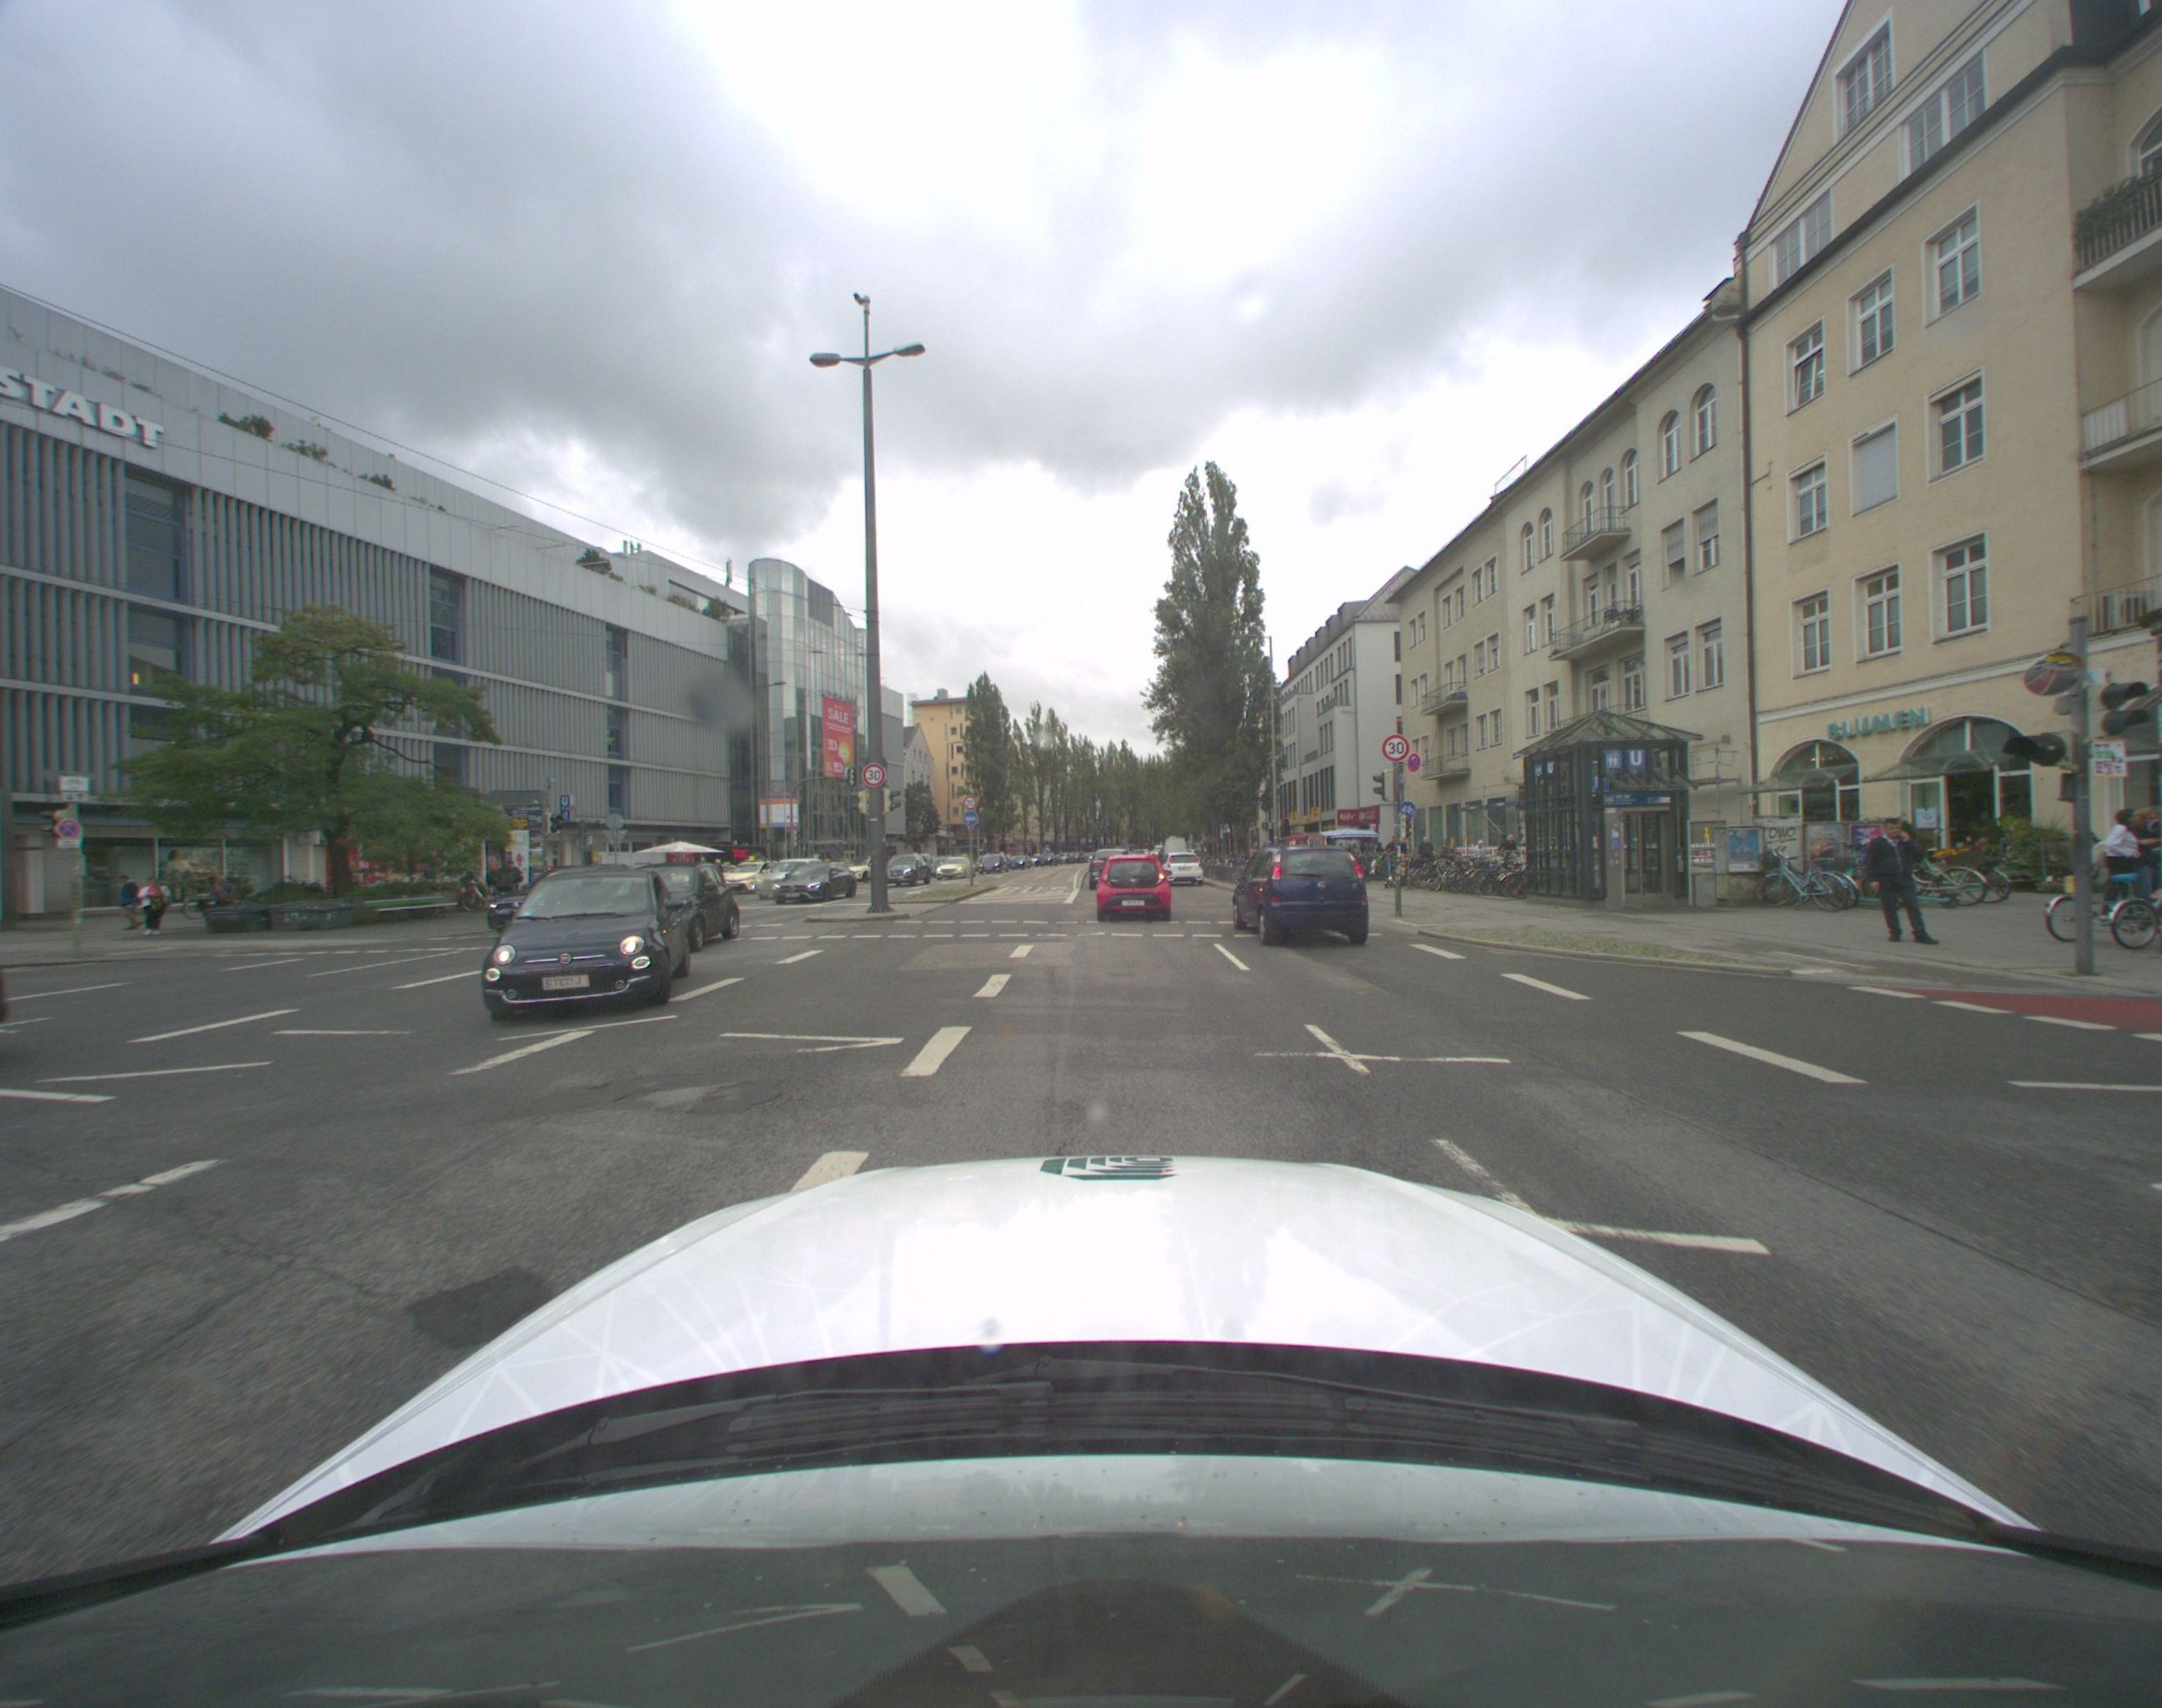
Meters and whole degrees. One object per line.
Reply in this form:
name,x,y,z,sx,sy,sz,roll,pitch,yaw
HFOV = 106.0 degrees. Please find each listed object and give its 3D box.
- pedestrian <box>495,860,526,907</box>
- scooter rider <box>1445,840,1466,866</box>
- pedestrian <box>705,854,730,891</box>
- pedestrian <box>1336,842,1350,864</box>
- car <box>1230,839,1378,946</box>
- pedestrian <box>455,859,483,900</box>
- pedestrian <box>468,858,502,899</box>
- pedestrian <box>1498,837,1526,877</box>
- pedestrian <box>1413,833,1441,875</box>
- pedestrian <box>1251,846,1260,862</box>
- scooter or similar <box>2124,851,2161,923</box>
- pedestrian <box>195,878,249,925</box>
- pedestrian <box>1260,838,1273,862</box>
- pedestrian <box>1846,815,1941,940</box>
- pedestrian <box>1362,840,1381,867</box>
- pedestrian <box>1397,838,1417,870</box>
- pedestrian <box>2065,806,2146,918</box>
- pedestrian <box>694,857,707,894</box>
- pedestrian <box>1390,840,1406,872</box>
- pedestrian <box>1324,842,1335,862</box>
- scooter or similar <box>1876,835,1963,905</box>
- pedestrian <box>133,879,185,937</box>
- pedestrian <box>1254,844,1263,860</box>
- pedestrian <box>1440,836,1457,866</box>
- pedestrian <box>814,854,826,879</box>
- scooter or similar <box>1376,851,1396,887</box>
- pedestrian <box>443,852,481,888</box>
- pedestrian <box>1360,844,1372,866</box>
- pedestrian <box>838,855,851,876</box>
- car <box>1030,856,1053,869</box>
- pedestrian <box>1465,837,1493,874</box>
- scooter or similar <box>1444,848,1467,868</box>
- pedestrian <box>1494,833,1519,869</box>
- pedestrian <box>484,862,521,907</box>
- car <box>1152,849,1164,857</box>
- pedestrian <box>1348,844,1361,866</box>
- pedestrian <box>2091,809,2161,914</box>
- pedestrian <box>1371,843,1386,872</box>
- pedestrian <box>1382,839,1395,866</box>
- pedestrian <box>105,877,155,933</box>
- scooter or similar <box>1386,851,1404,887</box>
pedestrian,-22.066,1.119,31.515,0.752,1.773,0.767,-2,0,-22
scooter rider,18.248,-0.048,39.686,0.683,1.219,0.719,-3,0,0
pedestrian,-17.412,0.878,39.038,0.766,1.690,0.753,-2,0,6
pedestrian,18.944,-0.067,58.908,0.730,1.602,0.742,-2,0,1
car,3.733,0.584,14.255,1.696,1.589,3.558,-1,0,2
pedestrian,-23.078,0.946,30.720,0.754,1.493,0.765,-2,0,-33
pedestrian,-23.124,0.951,31.605,0.764,1.554,0.755,-2,0,21
pedestrian,18.249,0.124,34.497,0.748,1.650,0.758,-3,0,0
pedestrian,14.763,-0.001,34.750,0.810,1.727,0.759,-3,0,2
pedestrian,17.598,-0.037,82.232,0.761,1.594,0.676,-1,0,1
scooter or similar,15.985,0.468,11.842,0.812,0.994,0.597,-1,3,24
pedestrian,-29.877,1.642,28.338,0.791,1.581,0.980,-2,0,12
pedestrian,13.789,-0.291,60.552,0.787,1.727,0.764,-2,0,1
pedestrian,11.465,0.314,11.523,0.826,1.691,0.825,-2,0,39
pedestrian,16.225,-0.031,45.469,0.801,1.522,0.805,-2,0,35
pedestrian,18.074,0.019,45.189,0.739,1.727,0.758,-3,0,1
pedestrian,15.810,0.113,12.588,0.560,1.670,0.565,-1,3,24
pedestrian,-18.281,1.050,39.097,0.441,1.759,0.358,-2,0,37
pedestrian,16.865,0.097,43.352,0.594,1.669,0.690,-2,0,37
pedestrian,17.789,-0.131,58.336,0.596,1.402,0.580,-2,0,1
scooter or similar,15.415,0.286,15.005,0.287,1.227,1.151,-2,0,-7
pedestrian,-25.876,1.504,22.861,0.633,1.574,0.723,-2,0,14
pedestrian,17.274,-0.167,79.234,0.710,1.558,0.676,-2,0,1
pedestrian,20.574,-0.175,45.578,0.638,1.644,0.563,-2,0,1
pedestrian,-19.556,0.918,61.003,0.553,1.817,0.630,-2,0,13
scooter or similar,10.542,0.500,28.141,0.360,1.176,1.355,-2,0,32
pedestrian,-22.776,0.571,29.977,0.542,1.275,1.045,-2,0,2
pedestrian,18.523,0.050,52.932,0.572,1.402,0.580,-2,0,1
pedestrian,-19.596,0.965,67.468,0.646,1.691,0.714,-2,0,14
car,-5.052,1.109,103.833,1.981,1.534,4.477,-2,0,9
pedestrian,17.022,0.051,34.815,0.775,1.517,0.758,-3,0,0
scooter or similar,18.252,0.199,39.715,0.533,0.943,1.125,-3,0,0
pedestrian,19.137,-0.140,36.636,0.646,1.568,0.788,-2,0,2
pedestrian,-21.692,1.126,30.556,0.765,1.654,0.754,-2,0,12
car,16.564,-0.216,175.183,1.979,1.691,4.431,-1,0,14
pedestrian,17.779,0.049,52.973,0.596,1.402,0.580,-2,0,1
pedestrian,16.569,0.105,12.849,0.556,1.609,0.570,-2,3,14
pedestrian,16.033,0.188,43.859,0.573,1.505,0.620,-2,0,33
pedestrian,16.747,-0.075,44.348,0.501,1.484,0.468,-2,0,37
pedestrian,-30.003,1.593,25.702,0.792,1.687,0.853,-1,0,-33
scooter or similar,10.726,0.501,27.771,0.297,1.176,1.285,-2,0,32
